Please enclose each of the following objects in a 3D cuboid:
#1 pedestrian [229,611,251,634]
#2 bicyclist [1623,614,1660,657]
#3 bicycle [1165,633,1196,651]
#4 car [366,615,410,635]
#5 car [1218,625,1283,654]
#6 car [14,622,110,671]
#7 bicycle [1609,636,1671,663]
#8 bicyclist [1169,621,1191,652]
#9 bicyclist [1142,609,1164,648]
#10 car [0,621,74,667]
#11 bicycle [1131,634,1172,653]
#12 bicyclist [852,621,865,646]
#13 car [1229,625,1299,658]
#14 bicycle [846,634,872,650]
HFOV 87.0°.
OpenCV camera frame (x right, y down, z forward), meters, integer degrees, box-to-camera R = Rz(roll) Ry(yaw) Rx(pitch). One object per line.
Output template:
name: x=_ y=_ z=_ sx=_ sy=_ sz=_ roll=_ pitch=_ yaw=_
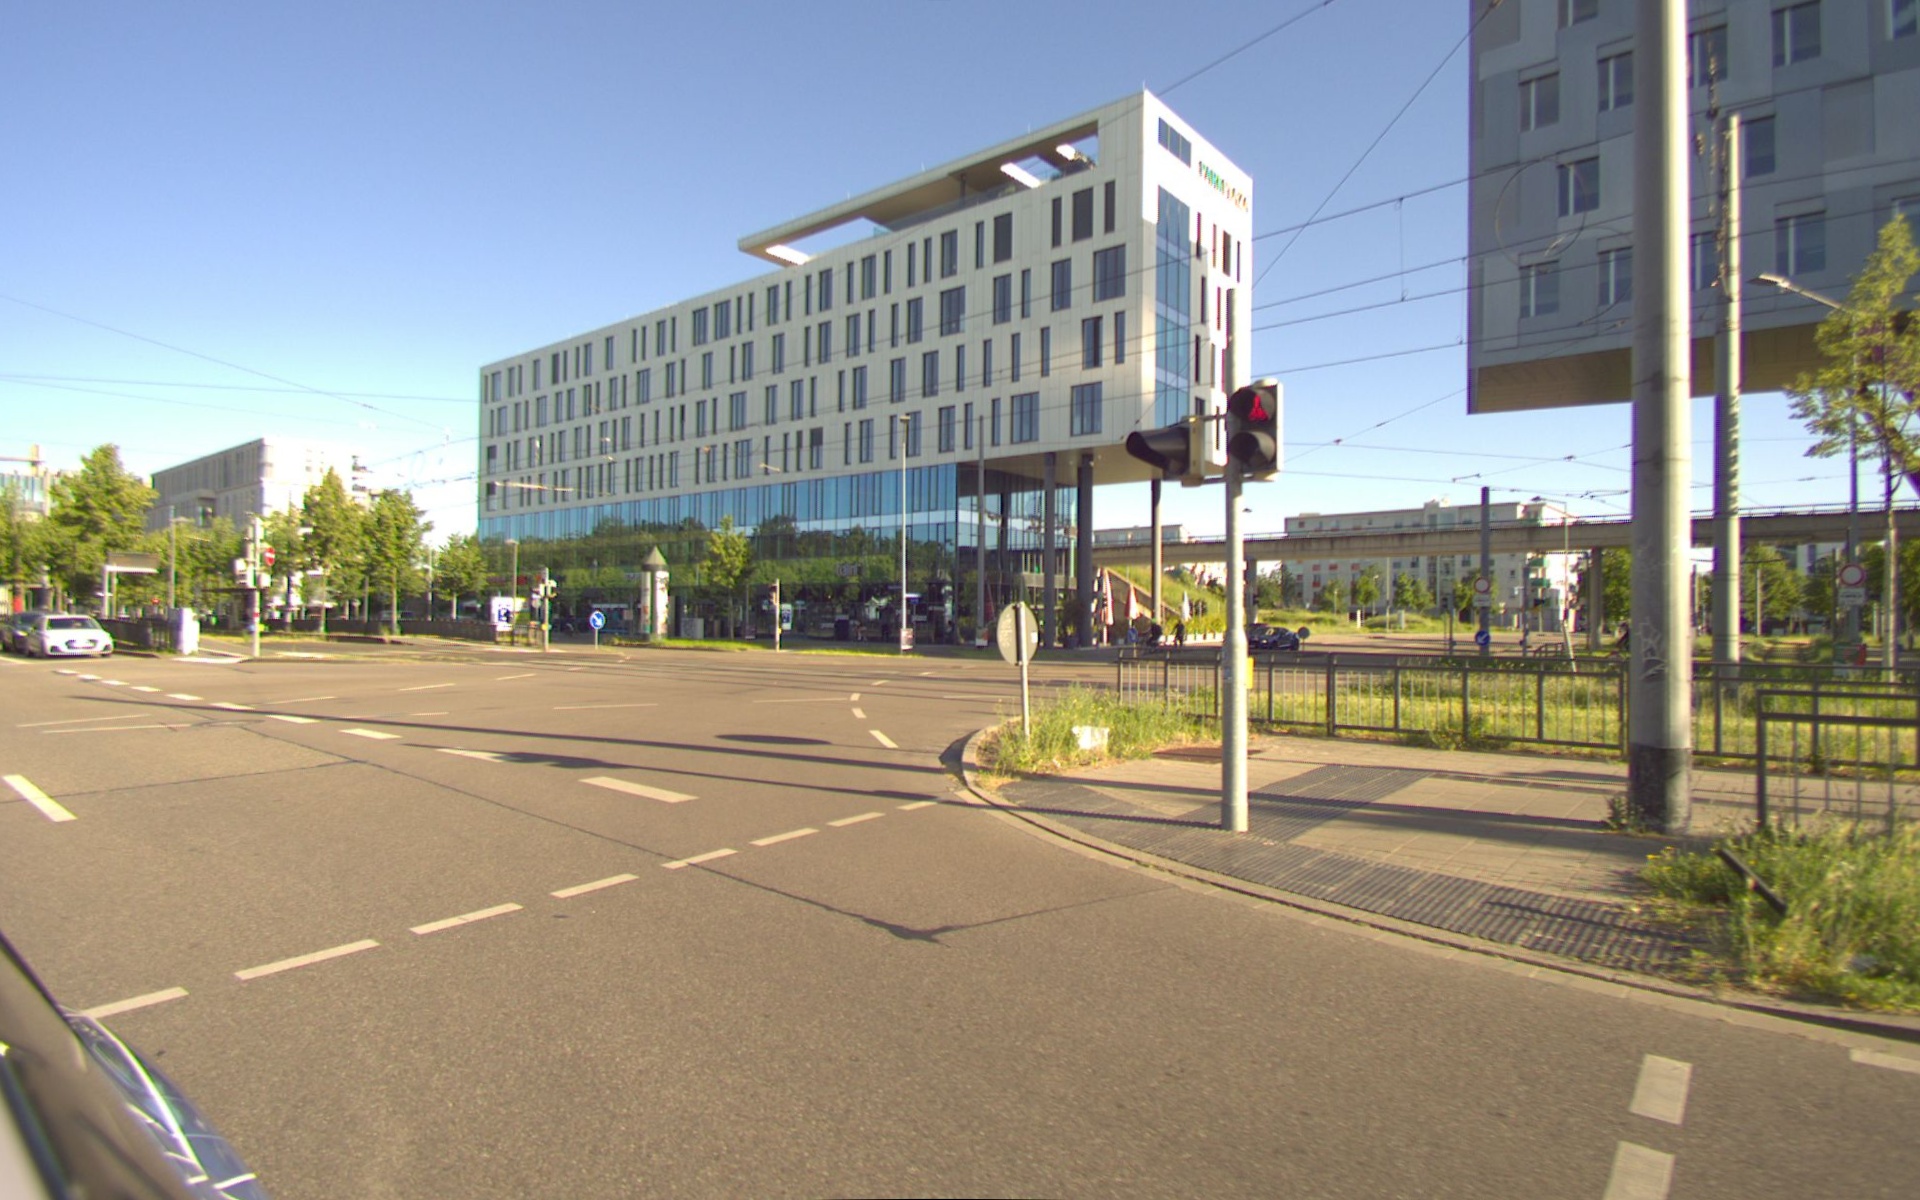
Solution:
pedestrian: x=-47.038 y=1.476 z=66.084 sx=0.844 sy=1.477 sz=1.054 roll=-1 pitch=-1 yaw=45
bicyclist: x=23.130 y=1.208 z=34.374 sx=0.958 sy=1.446 sz=0.564 roll=-1 pitch=-2 yaw=42
bicycle: x=11.454 y=2.167 z=52.517 sx=0.749 sy=0.869 sz=1.805 roll=-1 pitch=-1 yaw=42
car: x=-48.173 y=2.088 z=85.189 sx=4.338 sy=1.538 sz=1.781 roll=0 pitch=1 yaw=39
car: x=16.559 y=2.225 z=57.638 sx=2.000 sy=1.577 sz=3.944 roll=-1 pitch=-2 yaw=42
car: x=-29.731 y=1.504 z=33.482 sx=4.000 sy=1.437 sz=1.656 roll=-1 pitch=1 yaw=38
bicycle: x=23.095 y=1.668 z=34.394 sx=1.692 sy=0.869 sz=0.569 roll=-1 pitch=-1 yaw=42
bicyclist: x=11.410 y=1.893 z=52.476 sx=0.750 sy=1.595 sz=0.943 roll=-1 pitch=-1 yaw=42
bicyclist: x=8.833 y=1.308 z=46.368 sx=0.837 sy=1.739 sz=0.524 roll=-1 pitch=-2 yaw=41
car: x=-34.778 y=1.583 z=37.839 sx=4.338 sy=1.538 sz=1.781 roll=0 pitch=1 yaw=39
bicycle: x=8.766 y=1.990 z=46.415 sx=1.833 sy=0.869 sz=0.522 roll=-1 pitch=-1 yaw=41
bicyclist: x=-5.837 y=1.948 z=58.328 sx=0.553 sy=1.434 sz=0.476 roll=-1 pitch=-2 yaw=44
car: x=15.844 y=2.124 z=52.663 sx=2.000 sy=1.577 sz=3.944 roll=-1 pitch=-2 yaw=42
bicycle: x=-5.833 y=2.407 z=58.322 sx=1.693 sy=0.869 sz=0.476 roll=-1 pitch=-1 yaw=44
